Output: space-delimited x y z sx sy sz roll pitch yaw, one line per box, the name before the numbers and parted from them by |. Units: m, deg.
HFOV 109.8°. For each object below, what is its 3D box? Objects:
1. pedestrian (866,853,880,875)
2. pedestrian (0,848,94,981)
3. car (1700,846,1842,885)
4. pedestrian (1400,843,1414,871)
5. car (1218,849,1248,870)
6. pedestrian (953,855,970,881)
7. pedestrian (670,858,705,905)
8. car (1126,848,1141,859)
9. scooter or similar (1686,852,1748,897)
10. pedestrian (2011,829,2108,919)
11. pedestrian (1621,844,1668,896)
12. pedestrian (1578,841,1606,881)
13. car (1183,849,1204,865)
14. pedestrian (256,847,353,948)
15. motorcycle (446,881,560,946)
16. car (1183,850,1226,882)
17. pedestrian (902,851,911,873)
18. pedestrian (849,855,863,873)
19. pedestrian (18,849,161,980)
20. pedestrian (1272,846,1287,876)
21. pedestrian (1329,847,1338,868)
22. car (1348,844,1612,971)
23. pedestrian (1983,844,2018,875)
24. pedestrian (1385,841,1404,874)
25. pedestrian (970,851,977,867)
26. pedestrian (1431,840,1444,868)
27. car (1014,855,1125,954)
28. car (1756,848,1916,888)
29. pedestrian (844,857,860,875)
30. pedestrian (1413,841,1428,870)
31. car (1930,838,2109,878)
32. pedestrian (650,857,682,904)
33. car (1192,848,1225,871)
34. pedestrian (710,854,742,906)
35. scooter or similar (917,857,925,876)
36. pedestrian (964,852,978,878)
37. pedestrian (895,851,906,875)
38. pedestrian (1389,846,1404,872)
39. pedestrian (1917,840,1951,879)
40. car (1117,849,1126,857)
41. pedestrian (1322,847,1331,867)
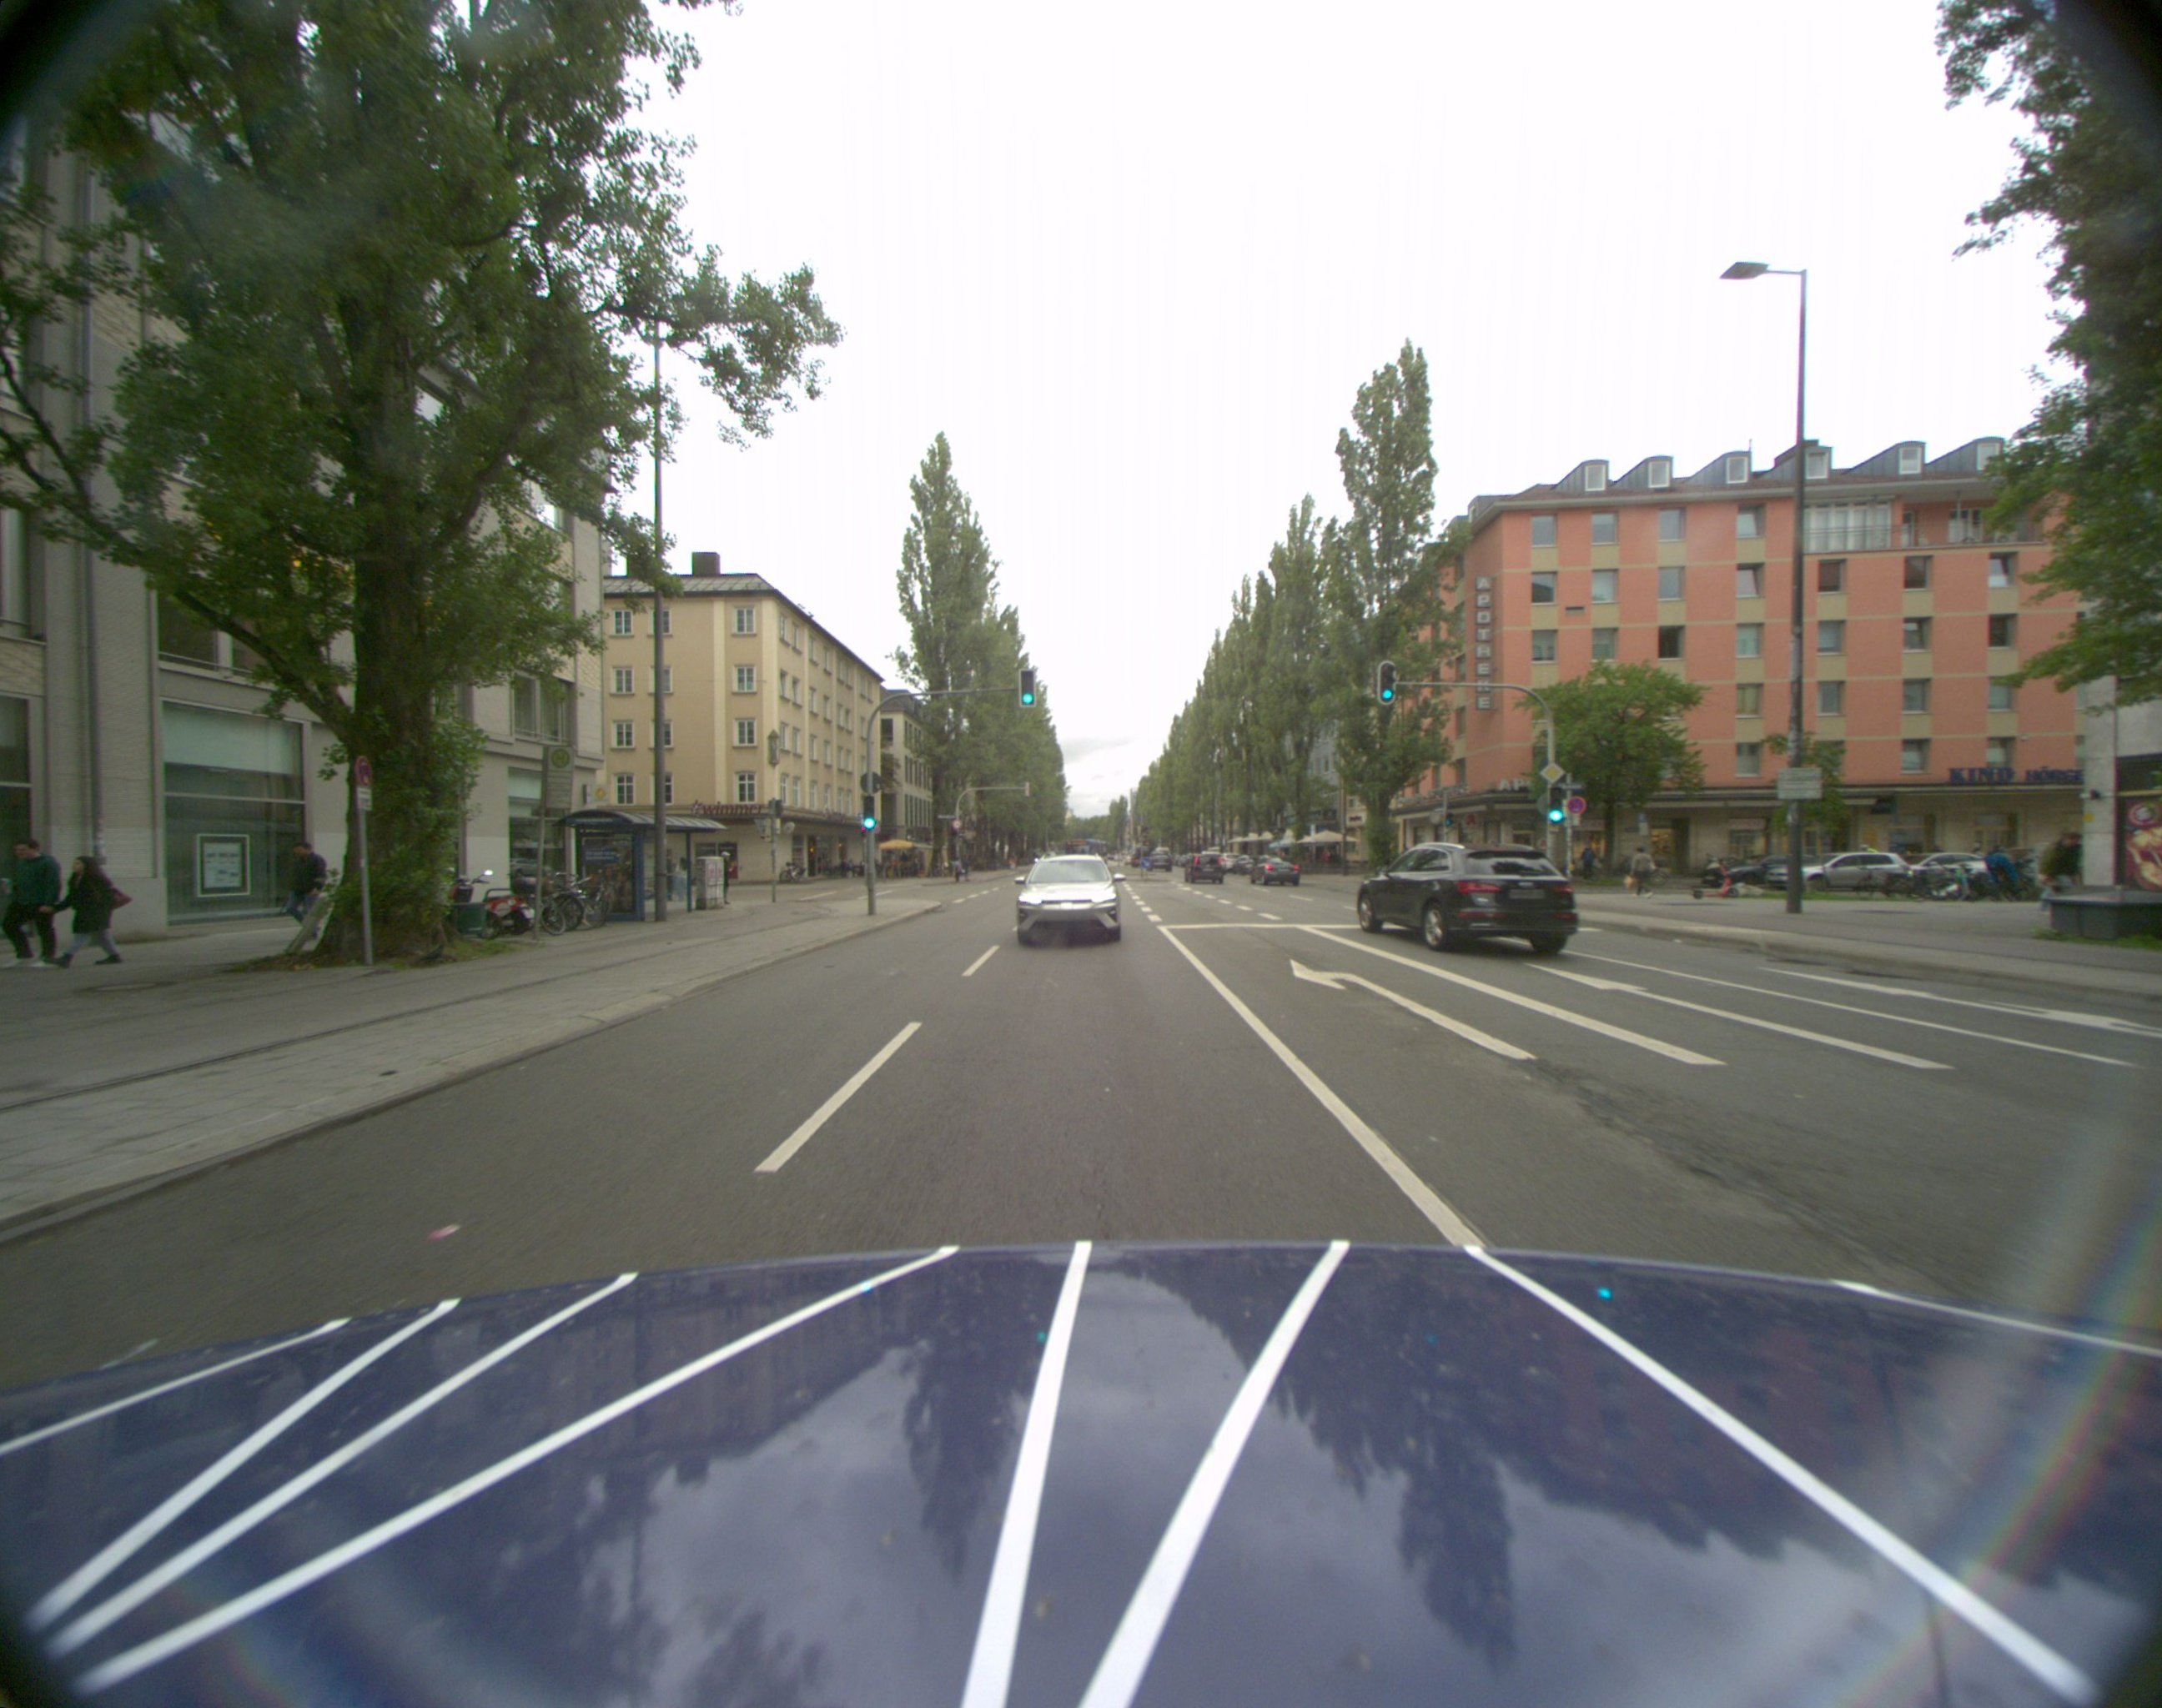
pedestrian | -15.462 0.755 56.565 0.777 1.580 0.699 -1 1 1
pedestrian | -14.678 0.809 10.533 0.752 1.748 0.859 -1 3 2
car | 28.232 0.466 31.216 3.994 1.412 1.783 -2 1 9
pedestrian | 19.614 0.200 45.721 0.508 1.661 0.626 -1 1 2
car | 12.439 0.433 62.255 1.707 1.574 4.095 0 1 1
pedestrian | -7.125 0.817 45.315 0.766 1.509 0.620 2 4 45
pedestrian | -14.936 1.039 28.840 0.752 1.748 1.017 -1 1 2
car | 7.264 -0.131 106.122 1.848 1.493 4.985 0 0 1
scooter or similar | 19.137 0.615 22.871 1.362 1.331 0.439 -1 1 21
pedestrian | 19.620 0.380 15.260 0.729 1.730 0.942 -2 1 0
pedestrian | 17.595 0.488 23.750 0.780 1.609 0.934 -1 1 0
pedestrian | 23.076 0.307 34.320 0.780 1.756 0.692 -1 1 1
car | 12.457 0.323 84.121 1.784 1.671 4.586 1 1 2
pedestrian | -14.431 0.789 14.142 0.820 1.807 0.890 -1 1 -1
motorcycle | -10.641 1.092 14.013 1.728 1.133 0.510 -1 1 2
car | 6.209 0.574 38.610 1.565 1.487 3.694 0 1 0
pedestrian | -13.396 0.580 58.357 0.541 1.664 0.537 -1 1 8
pedestrian | -15.882 0.698 53.675 0.777 1.257 0.699 -1 1 1
pedestrian | -13.887 0.820 10.675 0.752 1.748 0.859 -1 3 2
pedestrian | 12.144 0.403 46.425 0.736 1.785 0.994 -2 1 19
pedestrian | 21.298 0.292 64.033 0.556 1.708 0.692 -1 1 0
car | 6.153 0.695 12.489 1.918 1.671 4.585 1 1 1
pedestrian | 41.863 0.226 34.605 0.664 1.383 0.781 -2 1 0
pedestrian | 17.008 0.197 41.177 0.726 1.761 0.778 -1 1 2
pedestrian | -12.105 0.574 85.708 0.658 1.840 0.906 -1 1 3
pedestrian | 21.498 0.002 45.823 0.588 1.681 0.514 0 1 1
car | -0.176 0.809 14.136 1.758 1.529 3.916 -1 0 0
car | 28.414 0.517 28.728 3.994 1.412 1.783 -1 1 9
pedestrian | -15.650 0.837 51.963 0.870 1.192 0.699 -1 1 1
pedestrian | 20.437 0.097 45.744 0.631 1.679 0.519 -2 1 2
car | 34.500 0.148 28.038 3.994 1.412 1.743 -1 1 9
pedestrian | -15.721 0.987 28.771 0.752 1.748 0.711 -1 1 2
car | 9.736 0.360 58.182 1.841 1.706 4.635 0 1 1
pedestrian | -12.136 0.873 25.996 0.710 1.748 0.752 -1 1 2
scooter or similar | -10.470 0.789 49.820 0.408 1.236 1.370 -1 1 -15
pedestrian | -6.831 0.654 47.257 0.767 1.600 0.864 -1 1 -3
pedestrian | -12.743 0.633 53.725 0.541 1.664 0.537 -1 1 8
pedestrian | 18.868 0.301 45.401 0.658 1.574 0.548 -1 1 2
pedestrian | 39.200 0.228 34.926 0.664 1.757 0.781 -2 1 0
car | 9.131 -0.226 169.575 1.848 1.626 4.575 1 0 1
pedestrian | 20.663 0.237 63.905 0.556 1.629 0.692 -1 1 0
